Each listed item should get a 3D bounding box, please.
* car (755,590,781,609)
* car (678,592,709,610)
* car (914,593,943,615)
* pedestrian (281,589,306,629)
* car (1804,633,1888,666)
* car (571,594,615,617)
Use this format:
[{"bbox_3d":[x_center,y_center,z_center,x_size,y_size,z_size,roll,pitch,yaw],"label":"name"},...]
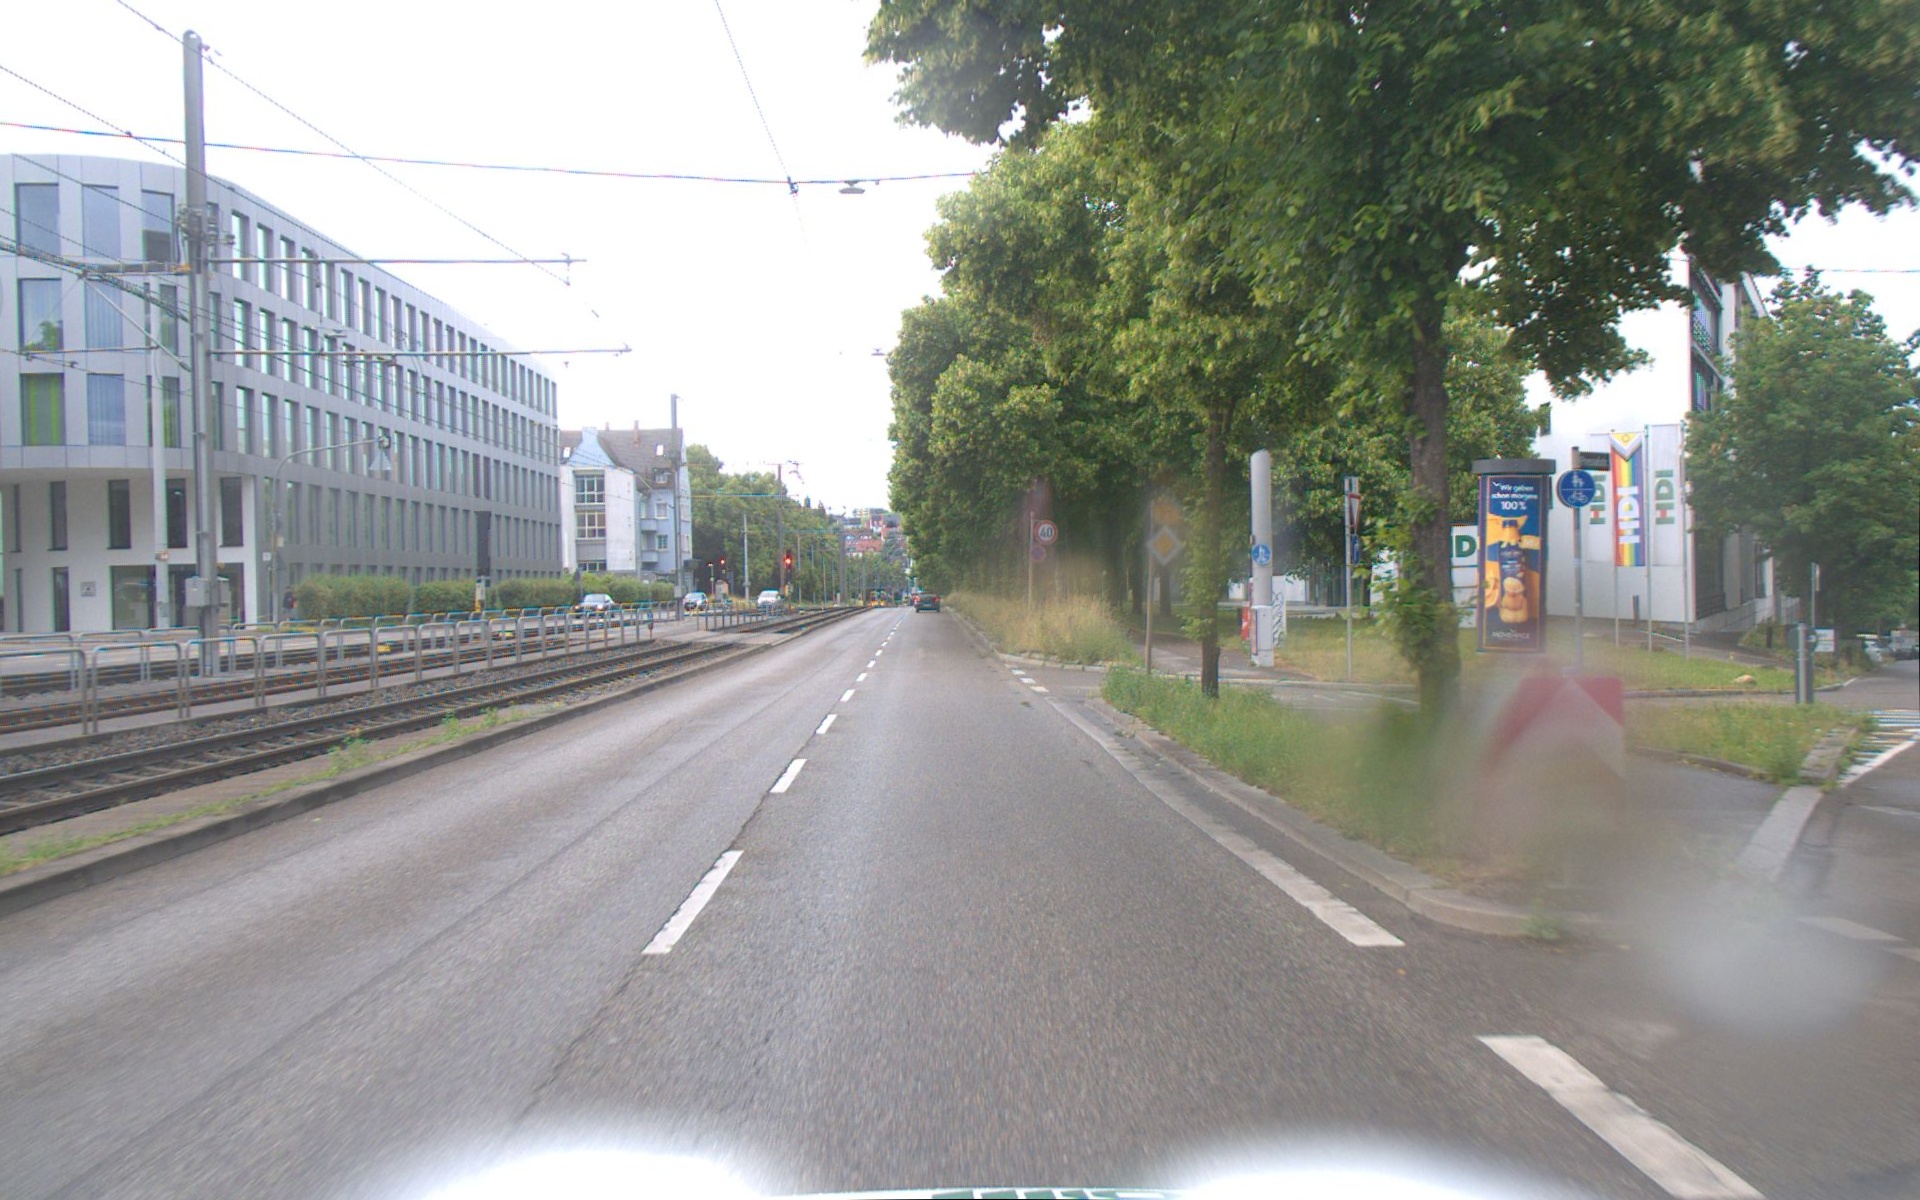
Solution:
[{"bbox_3d":[-17.730,-0.031,152.912,1.863,1.673,4.884,-1,0,0],"label":"car"},{"bbox_3d":[-21.063,0.073,130.873,1.761,1.370,4.258,-1,0,-1],"label":"car"},{"bbox_3d":[-2.186,0.253,113.810,1.942,1.466,4.473,-1,0,-1],"label":"car"},{"bbox_3d":[-27.732,0.370,68.815,0.709,1.676,0.845,0,-1,-1],"label":"pedestrian"},{"bbox_3d":[49.376,2.763,92.264,3.906,1.747,2.000,0,0,22],"label":"car"},{"bbox_3d":[-21.393,0.292,96.586,1.721,1.265,3.987,-1,0,-1],"label":"car"}]
